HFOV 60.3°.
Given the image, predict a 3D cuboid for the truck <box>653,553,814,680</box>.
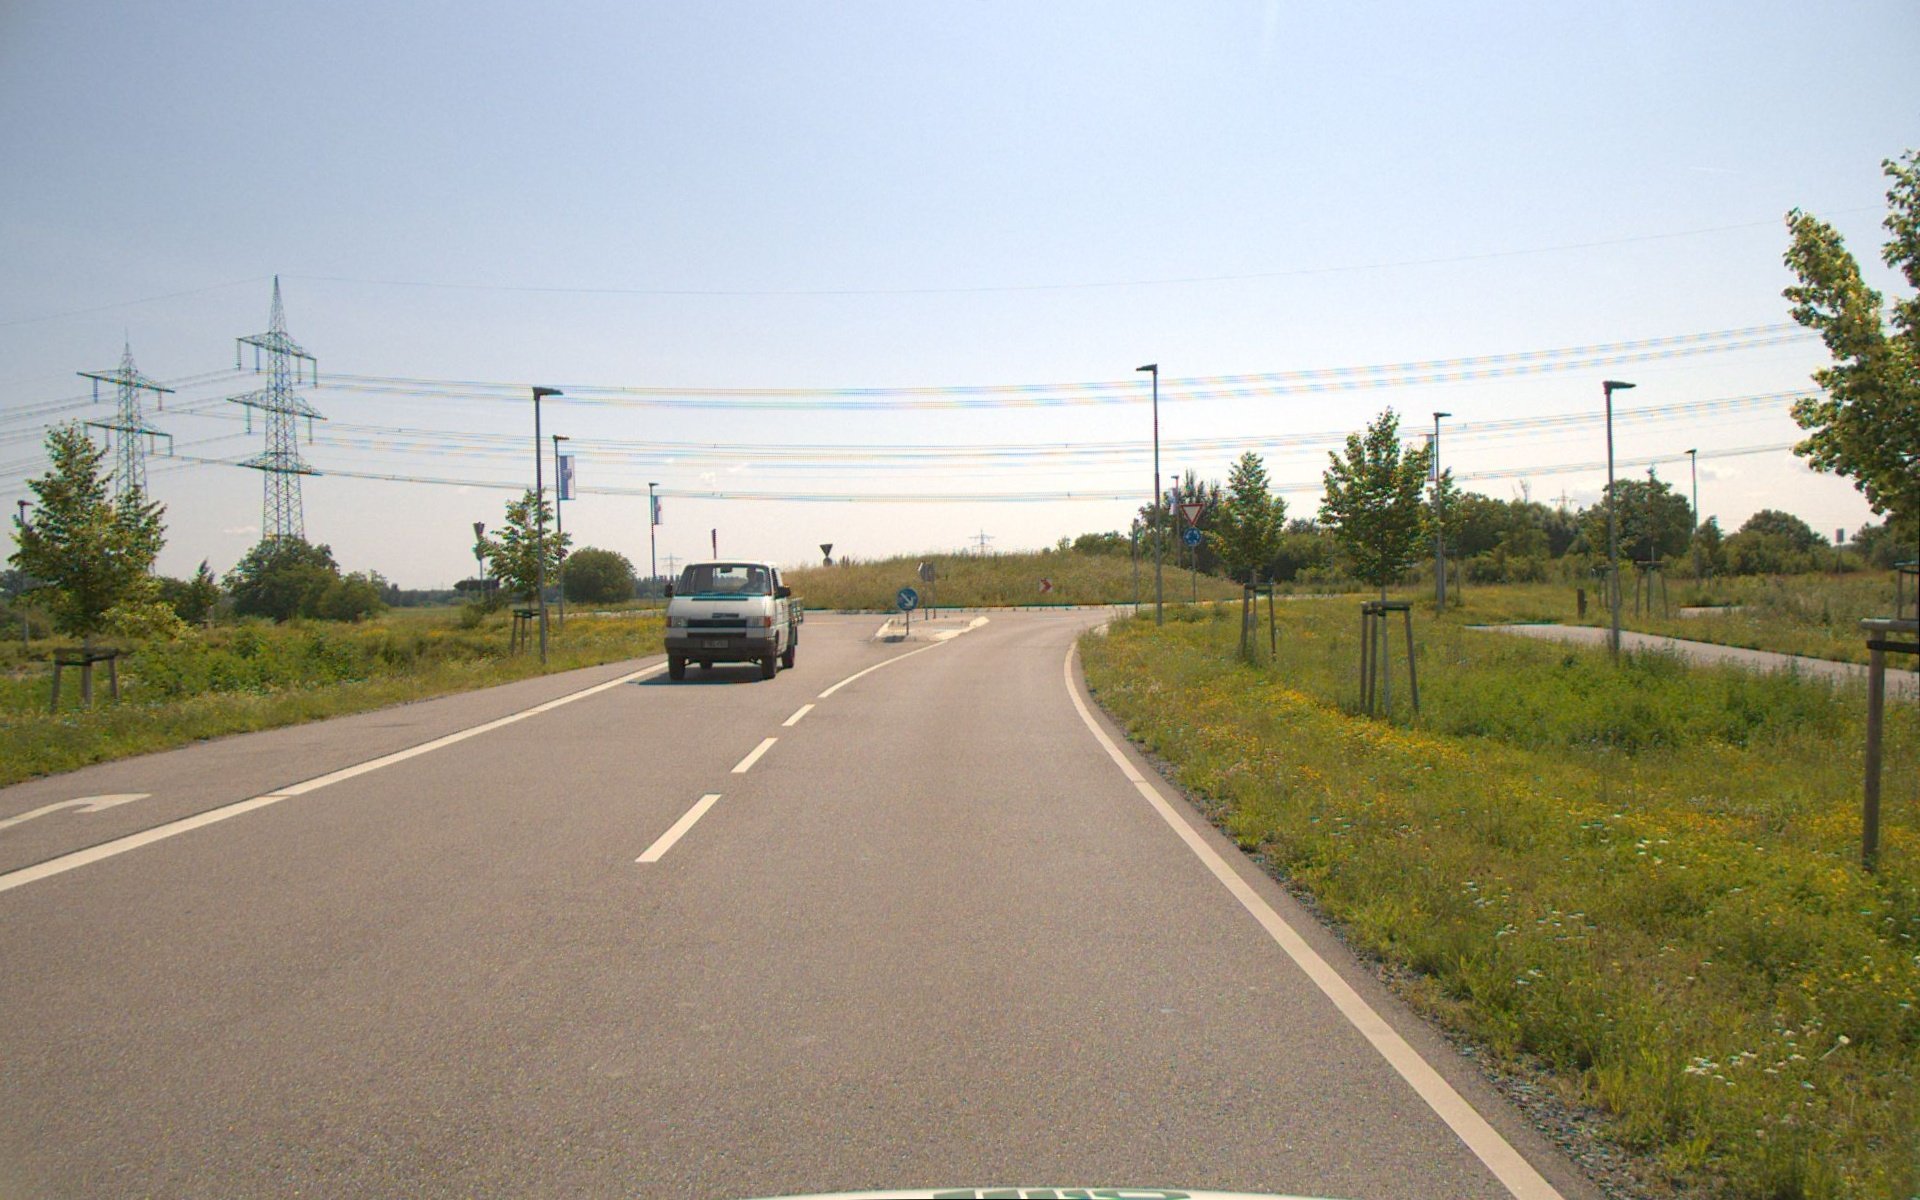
[{"bbox_3d":[-3.862,0.227,29.166,1.911,2.019,5.645,0,1,1],"label":"truck"}]
